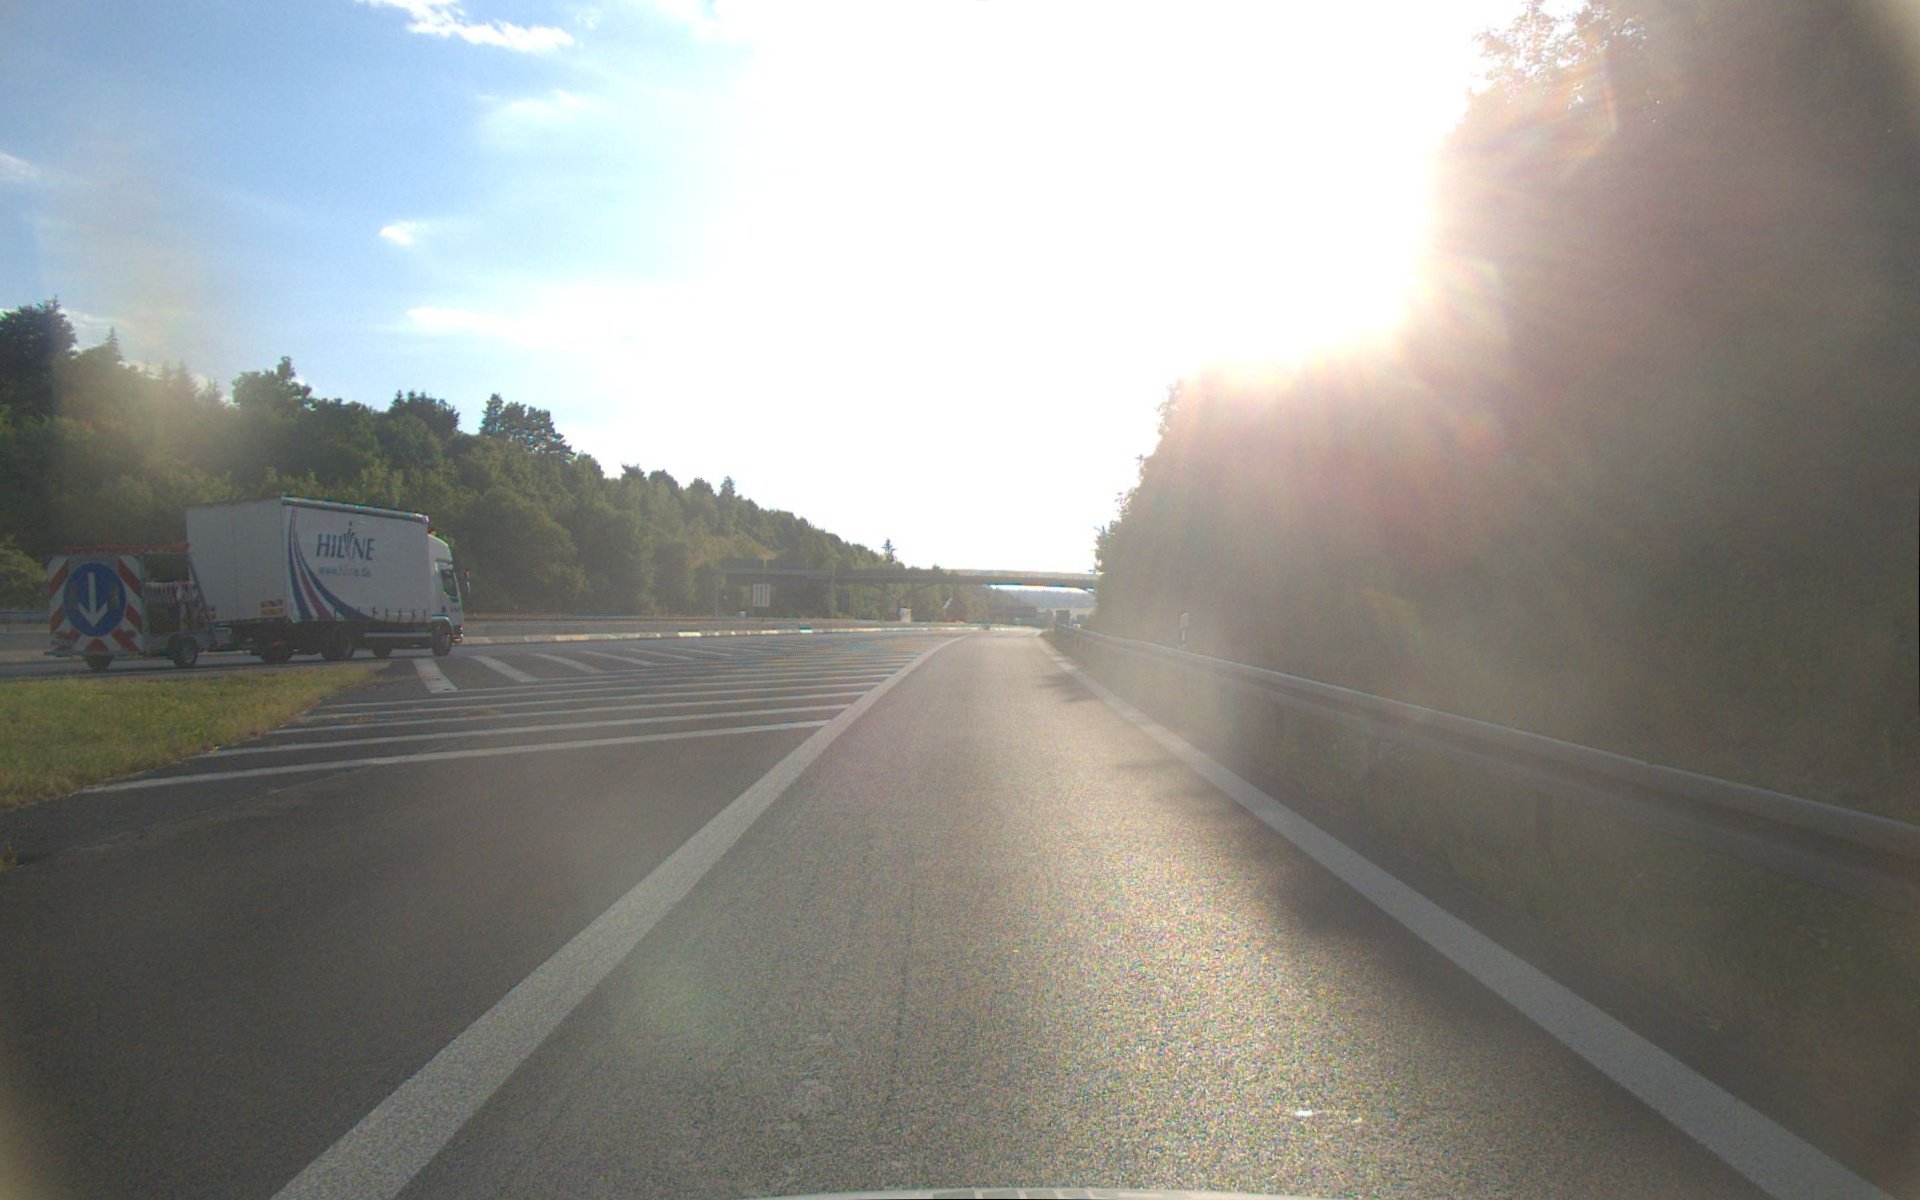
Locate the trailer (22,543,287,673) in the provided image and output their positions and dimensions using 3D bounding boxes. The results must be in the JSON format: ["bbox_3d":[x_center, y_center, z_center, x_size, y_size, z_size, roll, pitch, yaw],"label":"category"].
[{"bbox_3d":[-17.427,0.164,36.124,2.858,2.623,4.820,0,0,11],"label":"trailer"}]

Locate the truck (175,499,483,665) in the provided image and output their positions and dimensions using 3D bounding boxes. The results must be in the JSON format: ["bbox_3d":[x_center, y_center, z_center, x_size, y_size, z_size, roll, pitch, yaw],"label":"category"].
[{"bbox_3d":[-16.074,-0.408,43.248,2.858,3.856,9.673,0,0,11],"label":"truck"}]
